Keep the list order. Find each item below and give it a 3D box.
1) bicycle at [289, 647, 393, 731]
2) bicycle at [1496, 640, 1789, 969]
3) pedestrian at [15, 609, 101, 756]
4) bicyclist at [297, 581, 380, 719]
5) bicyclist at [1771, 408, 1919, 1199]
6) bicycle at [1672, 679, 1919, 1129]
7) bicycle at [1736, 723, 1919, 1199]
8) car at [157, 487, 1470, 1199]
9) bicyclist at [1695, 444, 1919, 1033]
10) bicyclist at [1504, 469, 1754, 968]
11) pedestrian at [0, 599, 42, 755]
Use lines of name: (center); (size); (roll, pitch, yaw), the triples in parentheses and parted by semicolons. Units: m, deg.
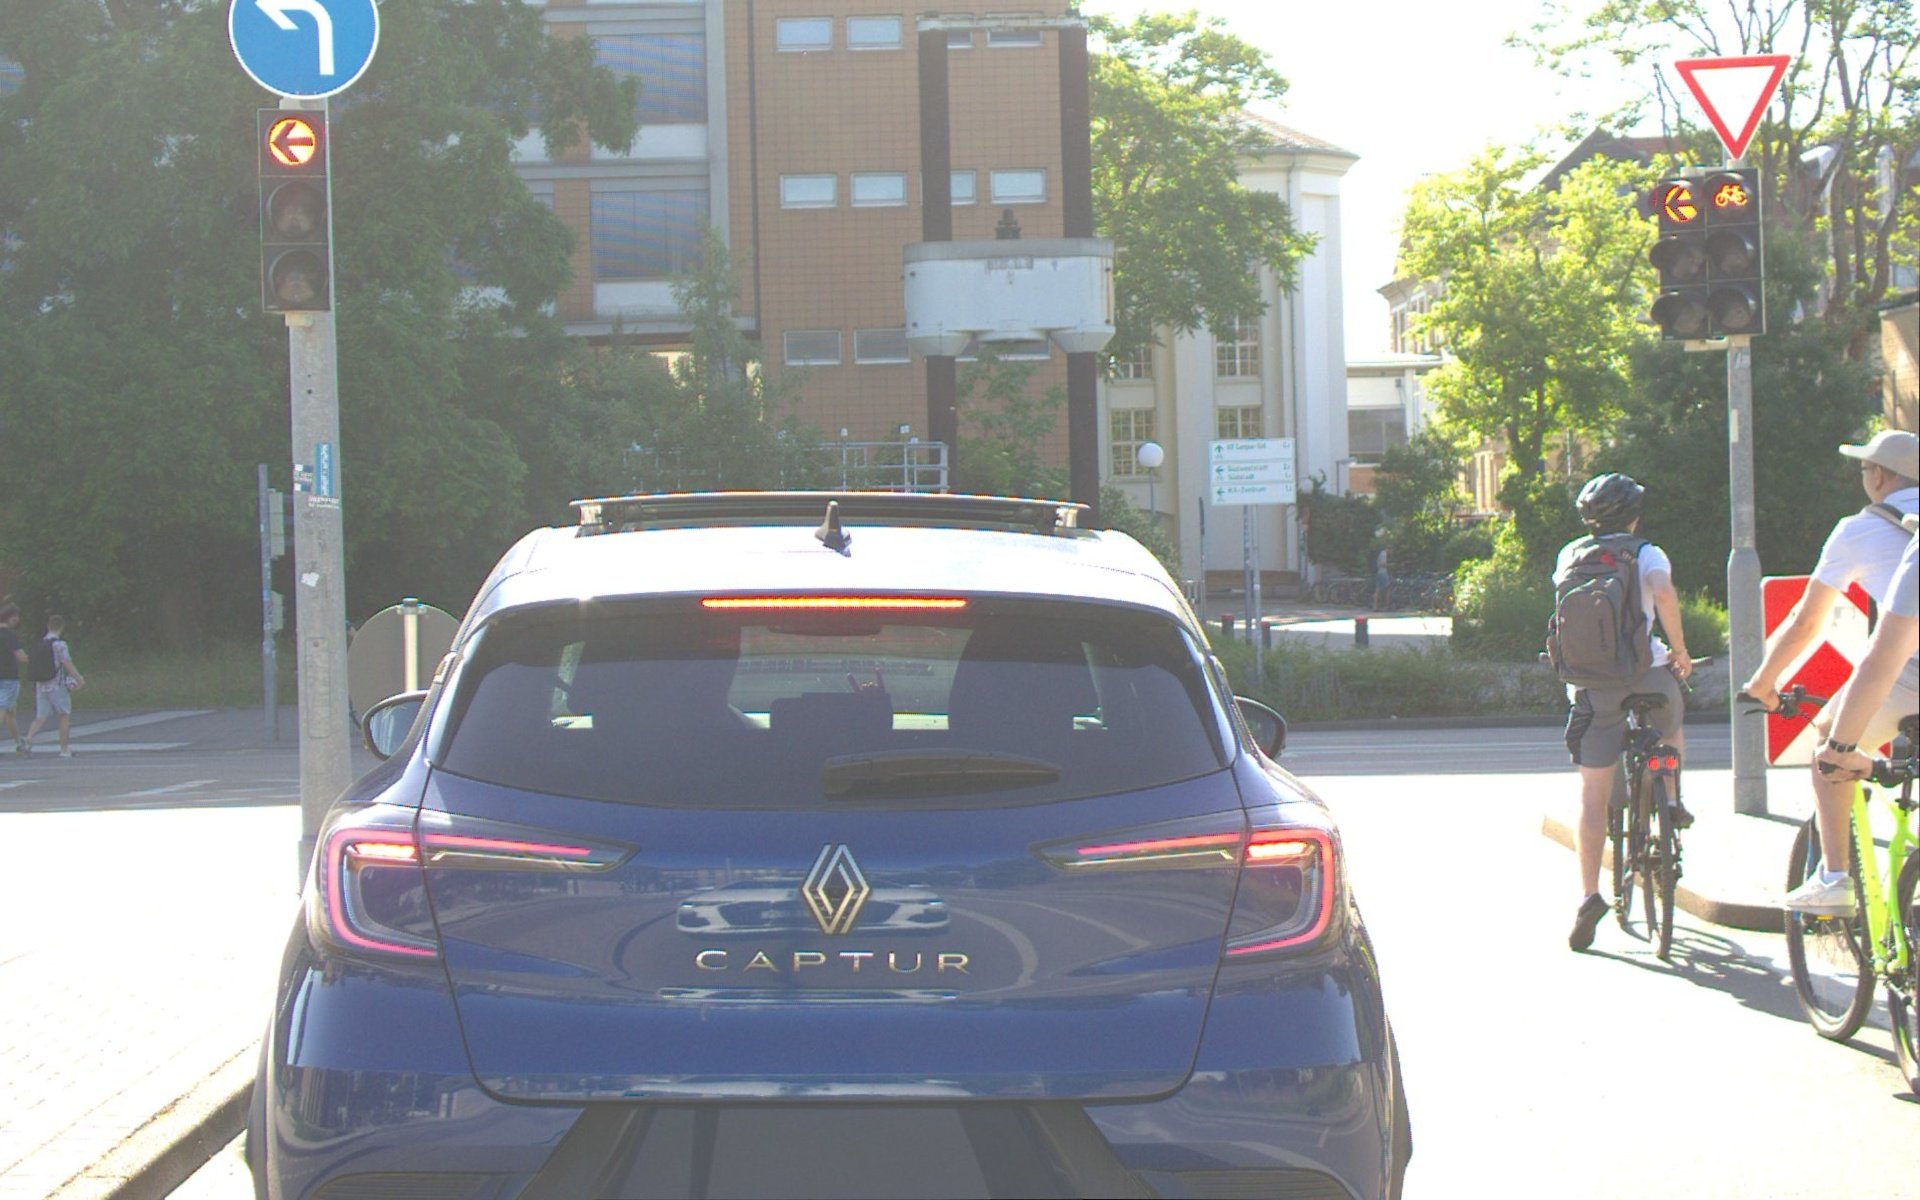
bicycle: (-7.892, 1.125, 43.910); (0.755, 0.981, 2.093); (-1, 1, 5)
bicycle: (2.502, 0.716, 12.813); (0.689, 1.085, 1.922); (0, 1, -1)
pedestrian: (-10.801, 0.982, 41.165); (0.681, 1.724, 0.760); (-1, 1, 13)
bicyclist: (-7.913, 0.630, 43.799); (0.755, 1.710, 0.998); (-1, 1, 5)
bicyclist: (2.214, 0.506, 7.344); (0.683, 1.785, 1.142); (0, 1, -1)
bicycle: (2.584, 0.803, 9.795); (0.689, 1.085, 1.922); (0, 1, -1)
bicycle: (2.219, 0.849, 7.291); (0.689, 1.085, 1.922); (0, 1, -1)
car: (-0.277, 0.613, 6.653); (1.788, 1.580, 3.915); (0, 1, -2)
bicyclist: (2.579, 0.367, 9.862); (0.678, 1.589, 1.142); (0, 1, -1)
bicyclist: (2.486, 0.418, 12.879); (0.699, 1.785, 1.142); (0, 1, -1)
pedestrian: (-11.772, 0.934, 41.763); (0.814, 1.856, 0.909); (-1, 1, 13)
